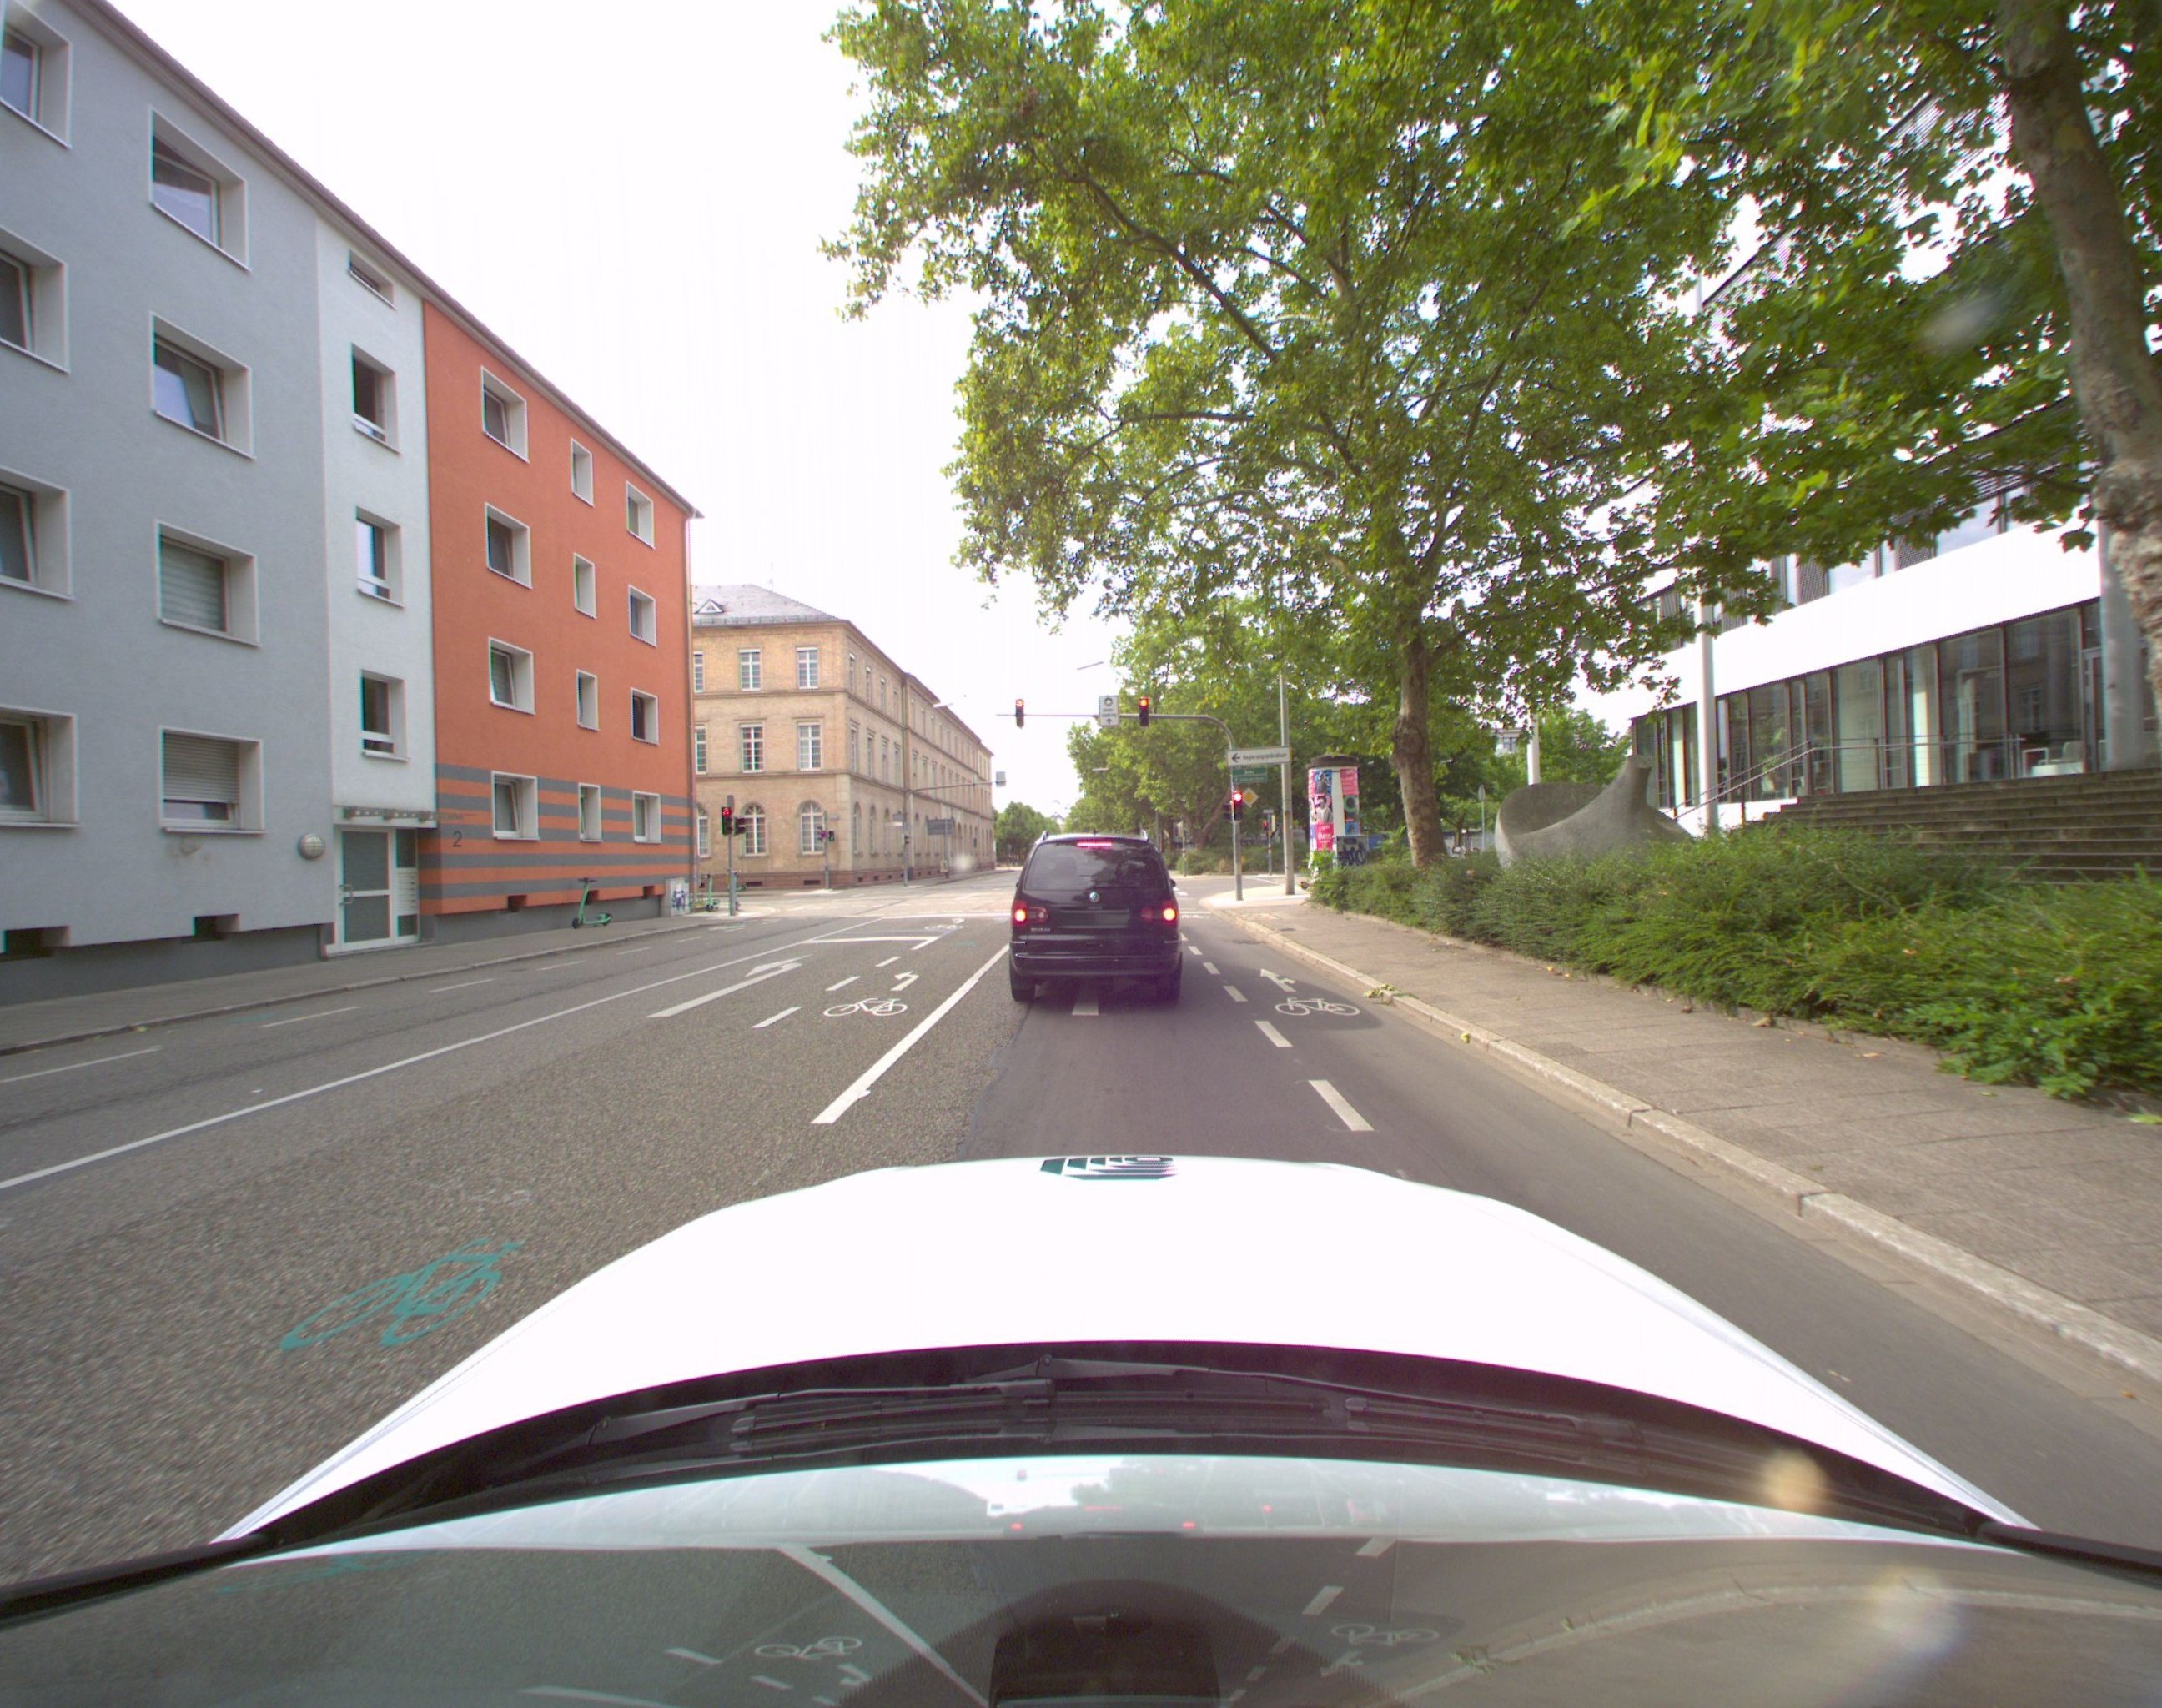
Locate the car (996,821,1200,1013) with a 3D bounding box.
[{"bbox_3d":[0.264,0.584,9.901,1.866,1.745,4.577,-2,0,3],"label":"car"}]

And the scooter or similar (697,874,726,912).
[{"bbox_3d":[-11.569,1.201,25.518,0.377,1.147,1.141,-2,-2,-2],"label":"scooter or similar"}]

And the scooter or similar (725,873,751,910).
[{"bbox_3d":[-10.965,1.188,26.051,0.377,1.144,1.141,-2,-2,-2],"label":"scooter or similar"}]

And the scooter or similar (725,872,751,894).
[{"bbox_3d":[-17.261,1.447,40.999,1.134,1.049,0.379,-2,-2,1],"label":"scooter or similar"}]

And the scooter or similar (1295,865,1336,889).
[{"bbox_3d":[7.612,0.742,26.449,1.215,0.736,0.369,-2,0,0],"label":"scooter or similar"}]

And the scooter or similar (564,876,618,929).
[{"bbox_3d":[-11.592,1.126,19.299,0.376,1.184,1.390,-2,-2,2],"label":"scooter or similar"}]
